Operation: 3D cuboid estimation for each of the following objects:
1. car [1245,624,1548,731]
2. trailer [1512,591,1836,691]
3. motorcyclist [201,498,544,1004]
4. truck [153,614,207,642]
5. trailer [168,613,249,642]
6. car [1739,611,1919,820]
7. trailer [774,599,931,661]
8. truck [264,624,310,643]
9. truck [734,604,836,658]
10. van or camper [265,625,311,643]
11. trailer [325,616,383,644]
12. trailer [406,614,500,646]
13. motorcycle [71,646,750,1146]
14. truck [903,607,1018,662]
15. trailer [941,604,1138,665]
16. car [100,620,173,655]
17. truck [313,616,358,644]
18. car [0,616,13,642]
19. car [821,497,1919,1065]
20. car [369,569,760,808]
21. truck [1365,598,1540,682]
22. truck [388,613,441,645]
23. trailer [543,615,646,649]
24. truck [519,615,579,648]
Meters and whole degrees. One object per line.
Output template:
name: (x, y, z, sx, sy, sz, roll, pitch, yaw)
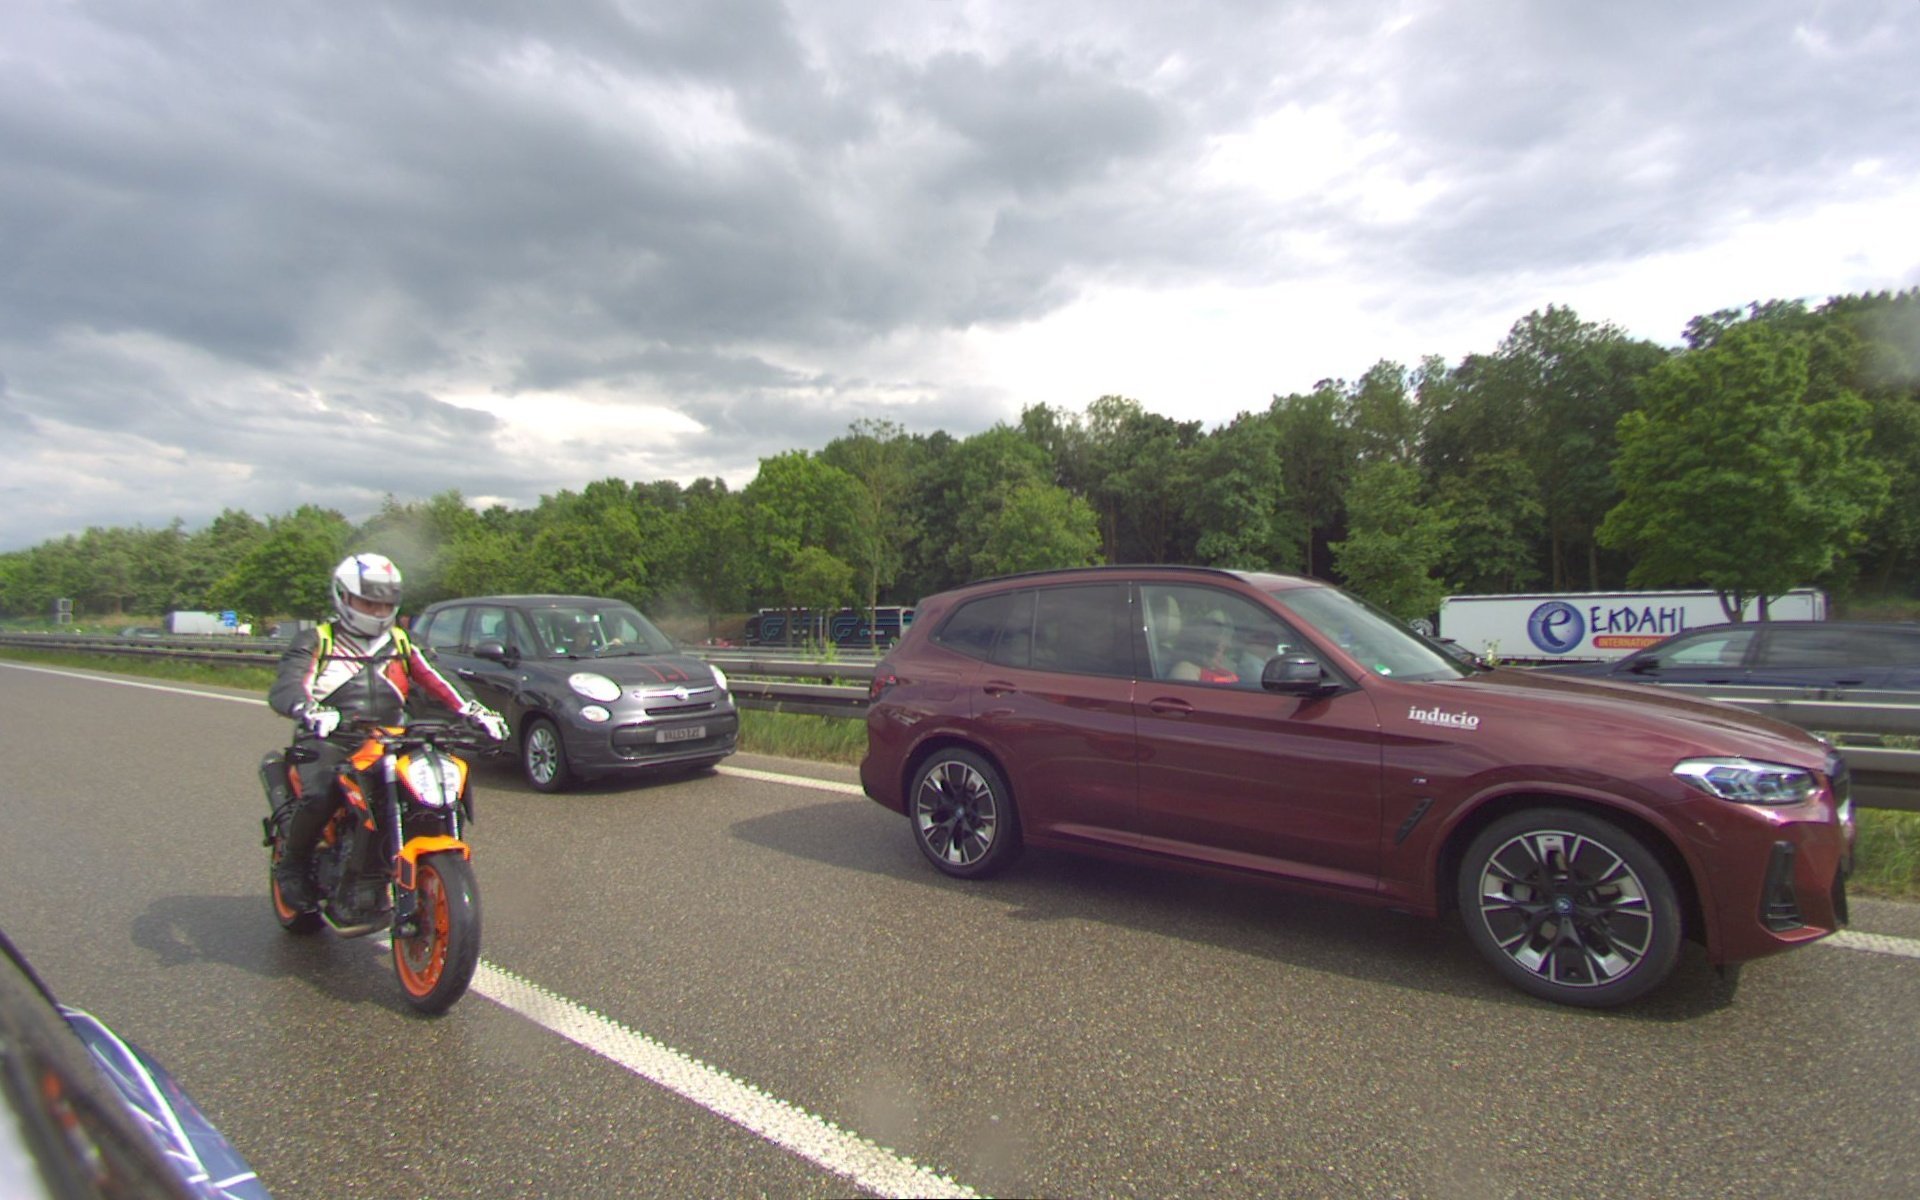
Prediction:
car: (8.562, 1.413, 20.137, 5.203, 1.789, 2.031, -1, 0, 39)
trailer: (29.385, 1.657, 42.241, 3.744, 3.677, 10.506, 1, -2, -44)
motorcyclist: (-2.370, 0.516, 4.098, 0.999, 1.719, 0.873, -1, 0, 36)
truck: (-108.018, 3.809, 140.142, 6.876, 3.732, 3.191, -1, 0, 25)
trailer: (-102.073, 3.746, 137.391, 12.497, 3.767, 3.187, -1, -2, 25)
car: (10.044, 0.997, 8.754, 5.203, 1.789, 2.031, -1, 0, 39)
trailer: (-8.638, 2.348, 79.061, 13.790, 4.439, 3.750, -1, -2, 40)
truck: (-86.904, 4.327, 130.601, 6.284, 2.282, 2.106, -1, -1, 26)
truck: (-14.562, 2.501, 83.958, 8.409, 4.266, 3.750, -1, 0, 40)
van or camper: (-86.705, 4.381, 130.530, 6.289, 2.282, 2.106, -1, -1, 26)
trailer: (-73.907, 3.632, 123.433, 7.708, 3.257, 2.562, -1, -2, 29)
trailer: (-56.857, 3.323, 113.304, 13.381, 3.431, 2.801, -1, -2, 32)
motorcycle: (-2.394, 0.857, 4.125, 3.188, 1.235, 1.174, -1, 0, 36)
truck: (-0.014, 2.317, 71.057, 7.348, 3.616, 3.750, -1, 0, 40)
trailer: (4.947, 2.230, 66.865, 13.334, 3.677, 3.750, -1, -2, 40)
car: (-45.027, 2.001, 55.285, 5.203, 1.789, 2.031, -1, 0, 39)
truck: (-77.257, 3.690, 125.213, 5.063, 3.292, 2.637, -1, 0, 29)
car: (-78.528, 2.321, 81.912, 5.203, 2.061, 2.031, -1, 0, 39)
car: (1.597, 0.578, 5.107, 4.611, 1.649, 1.890, -1, -3, 38)
car: (-3.850, 0.687, 9.577, 3.971, 1.818, 1.676, -1, 0, 38)
truck: (23.430, 1.791, 48.330, 6.708, 3.688, 3.745, -1, 0, 44)
truck: (-63.242, 3.334, 117.337, 5.877, 3.482, 2.839, -1, 0, 32)
trailer: (-36.101, 3.148, 99.645, 12.452, 3.241, 3.317, -1, -2, 37)
truck: (-42.385, 3.227, 104.341, 5.495, 3.298, 3.324, -1, 0, 35)
